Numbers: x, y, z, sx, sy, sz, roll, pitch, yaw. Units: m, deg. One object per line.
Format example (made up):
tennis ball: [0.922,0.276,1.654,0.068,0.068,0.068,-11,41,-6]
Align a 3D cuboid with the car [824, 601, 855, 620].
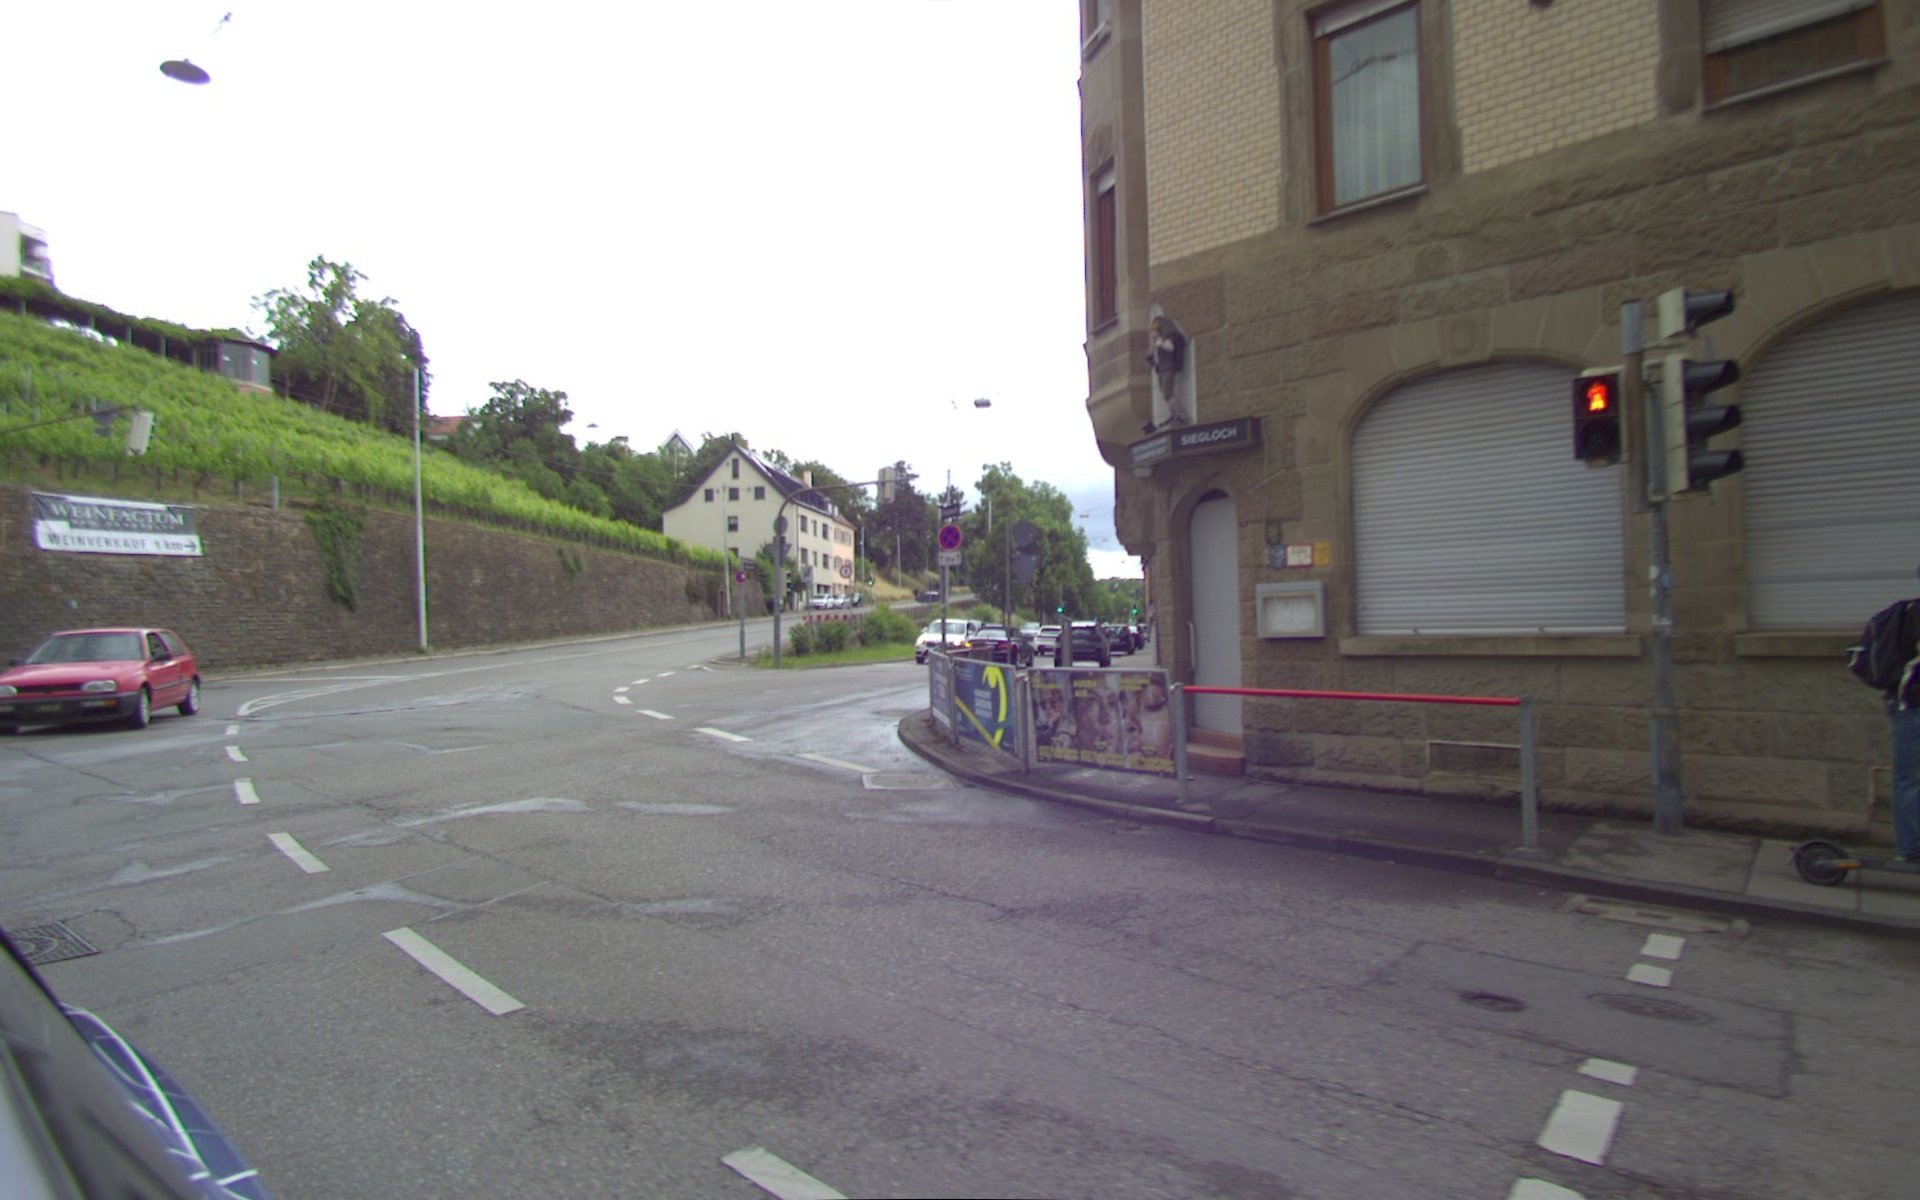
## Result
car: [-11.472,0.997,96.608,1.714,1.586,4.236,-3,1,10]

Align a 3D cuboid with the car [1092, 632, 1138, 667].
car: [7.998,2.496,51.998,1.981,1.676,3.981,0,-1,14]

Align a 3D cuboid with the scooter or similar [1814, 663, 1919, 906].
scooter or similar: [5.356,0.982,5.357,1.226,1.251,0.374,-3,0,42]

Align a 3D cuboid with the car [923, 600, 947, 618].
car: [-2.241,0.829,91.081,1.655,1.479,3.635,1,-3,7]

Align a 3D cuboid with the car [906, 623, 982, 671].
car: [-0.520,1.711,37.826,1.815,1.525,4.406,-2,0,12]

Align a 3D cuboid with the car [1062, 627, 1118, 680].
car: [4.649,1.846,35.861,1.670,1.567,4.219,-2,0,11]

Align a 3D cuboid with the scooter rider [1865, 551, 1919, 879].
scooter rider: [5.267,0.595,5.411,0.577,1.718,0.482,-2,1,41]

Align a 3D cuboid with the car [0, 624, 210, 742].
car: [-12.505,1.095,14.707,1.619,1.449,4.013,-1,-1,-22]

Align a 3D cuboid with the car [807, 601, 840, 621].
car: [-12.358,0.997,91.579,1.780,1.586,4.043,-3,1,10]

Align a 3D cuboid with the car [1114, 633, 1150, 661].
car: [10.408,2.807,61.058,1.980,1.577,3.983,0,-1,13]

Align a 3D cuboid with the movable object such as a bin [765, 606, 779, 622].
movable object such as a bin: [-13.952,1.052,75.100,0.802,1.135,0.872,-2,0,9]

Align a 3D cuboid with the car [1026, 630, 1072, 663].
car: [4.281,2.182,48.095,1.670,1.477,3.901,0,-1,13]

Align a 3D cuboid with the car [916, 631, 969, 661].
car: [-0.853,2.329,52.091,1.859,1.453,3.983,0,-2,13]

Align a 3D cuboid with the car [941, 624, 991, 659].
car: [0.358,2.296,56.580,1.980,1.852,3.983,0,-2,13]

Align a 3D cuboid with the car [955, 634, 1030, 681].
car: [1.163,1.853,33.581,1.749,1.420,4.381,0,-2,12]
